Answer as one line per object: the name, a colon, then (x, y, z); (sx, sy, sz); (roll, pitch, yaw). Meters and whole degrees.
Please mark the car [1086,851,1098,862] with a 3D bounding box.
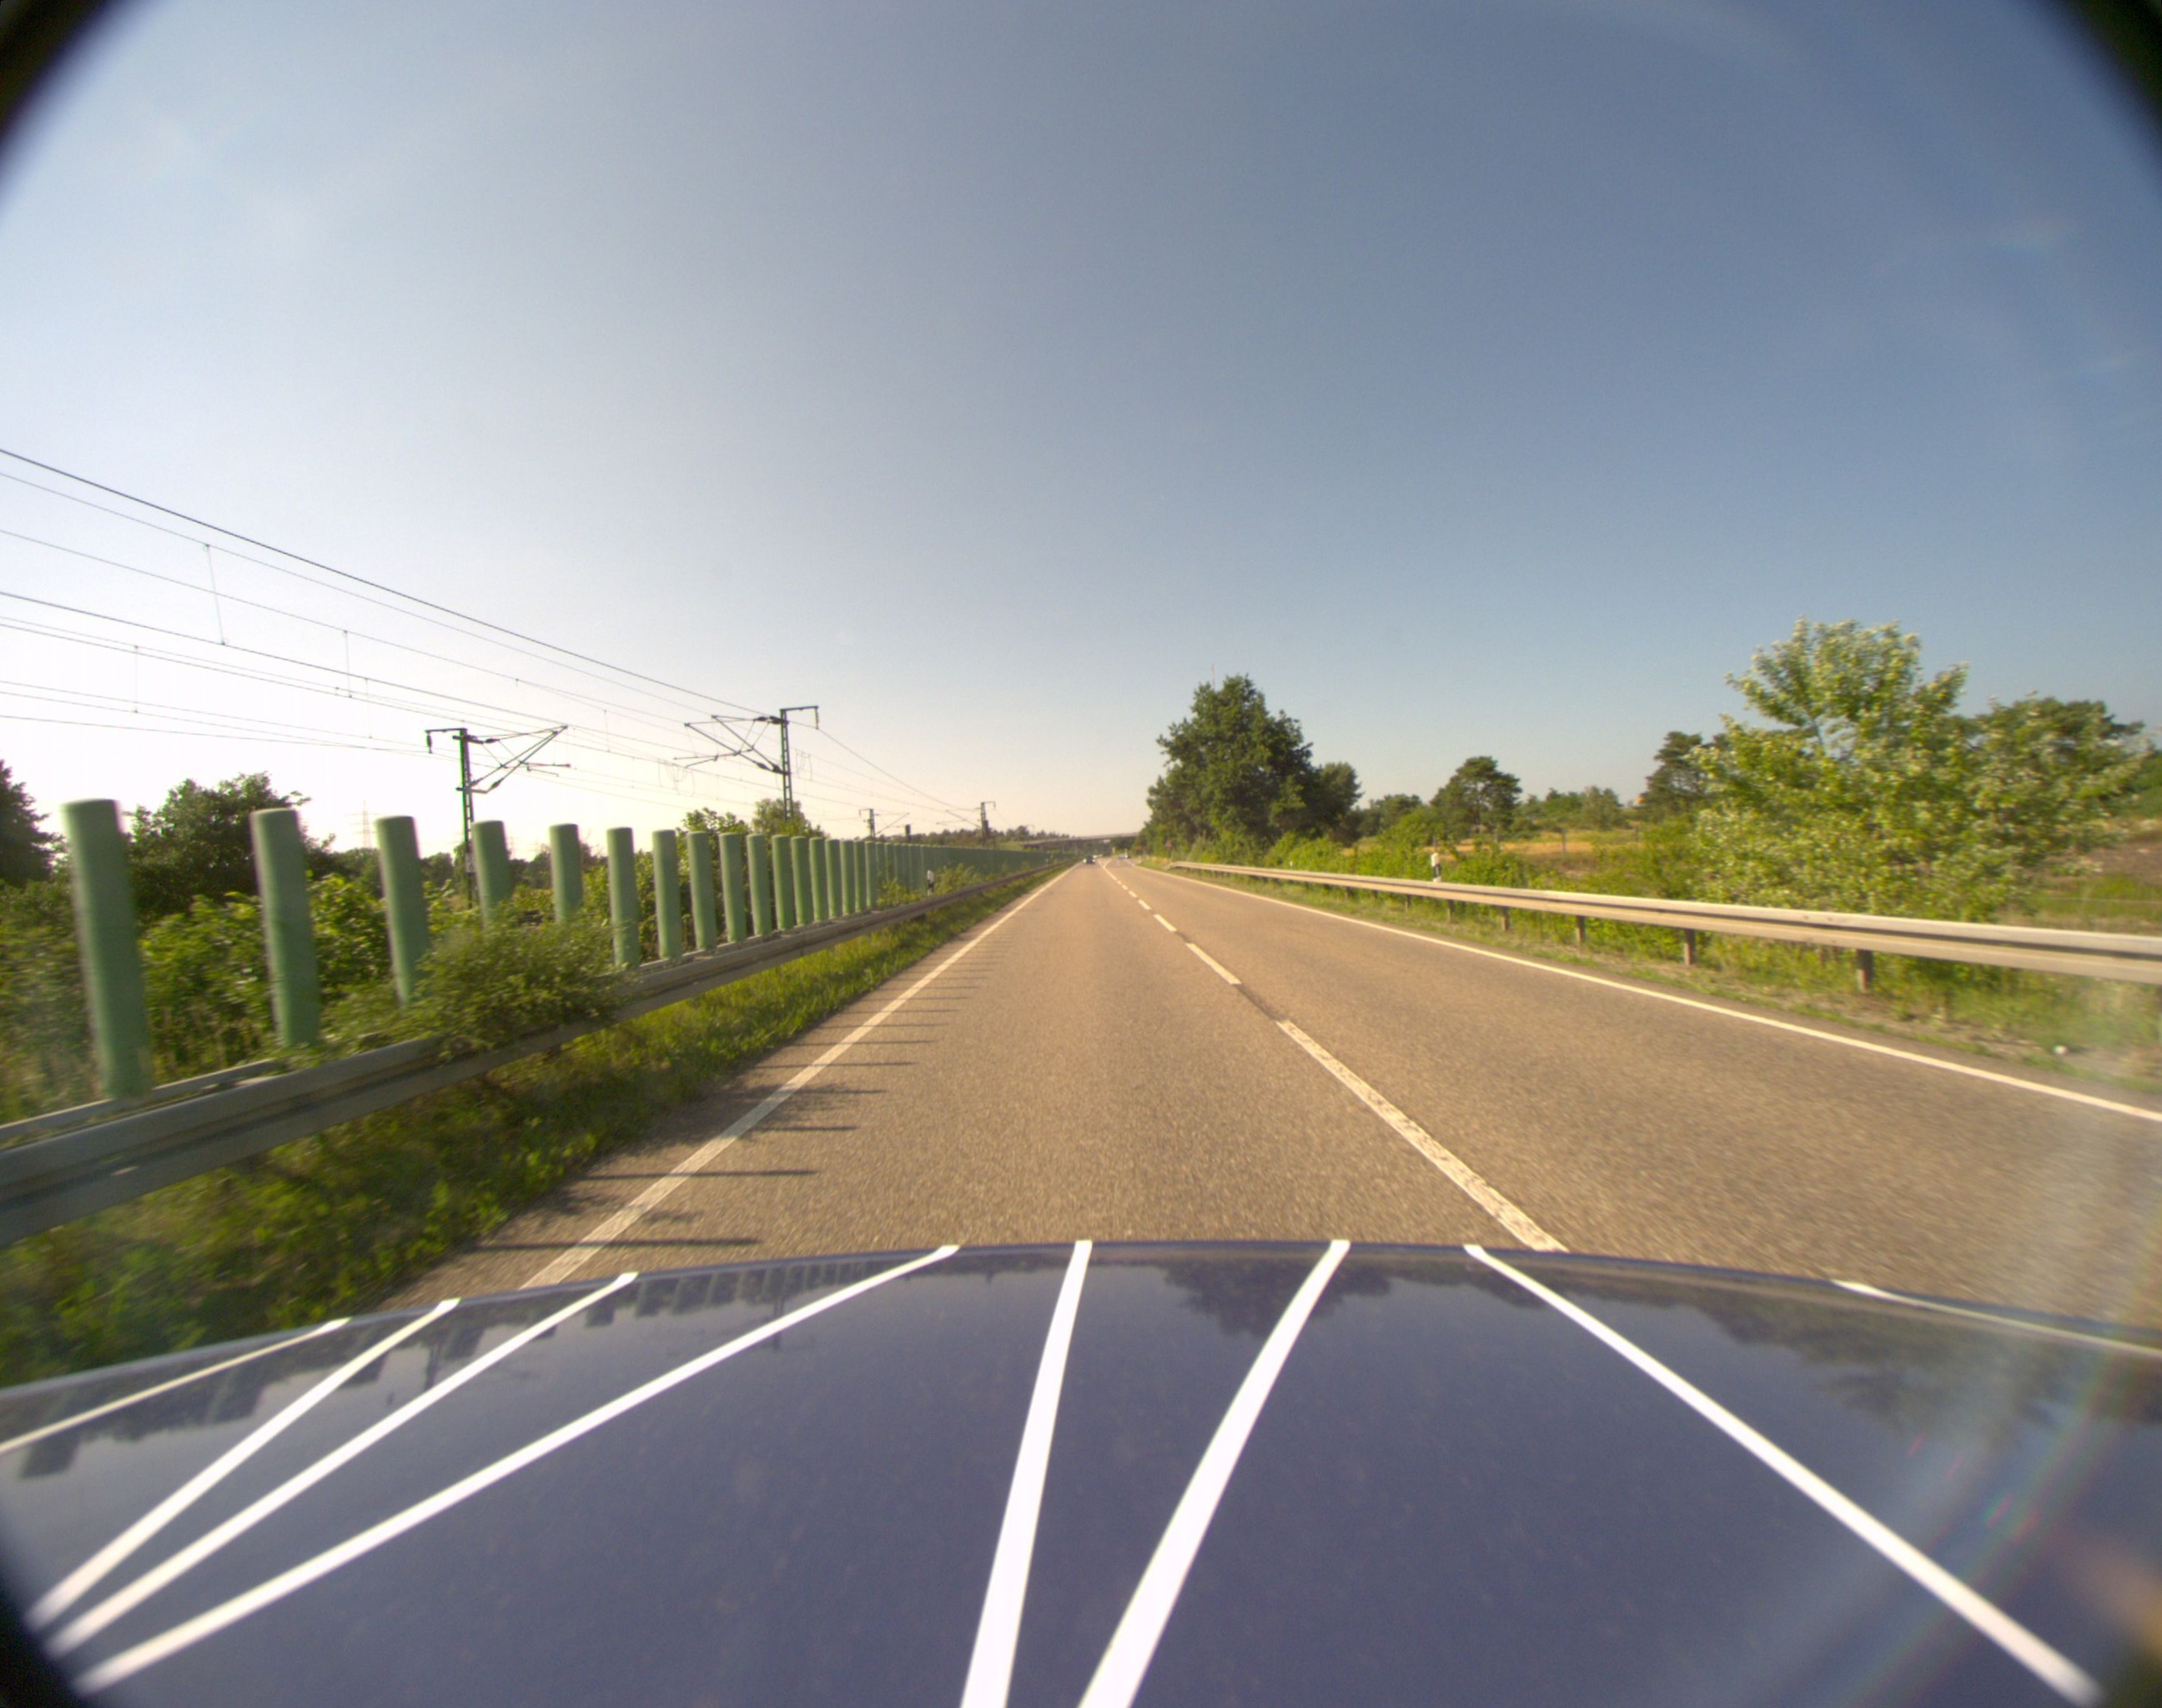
car: (1.756, 0.394, 120.508); (1.868, 1.533, 4.076); (-2, 0, 3)
